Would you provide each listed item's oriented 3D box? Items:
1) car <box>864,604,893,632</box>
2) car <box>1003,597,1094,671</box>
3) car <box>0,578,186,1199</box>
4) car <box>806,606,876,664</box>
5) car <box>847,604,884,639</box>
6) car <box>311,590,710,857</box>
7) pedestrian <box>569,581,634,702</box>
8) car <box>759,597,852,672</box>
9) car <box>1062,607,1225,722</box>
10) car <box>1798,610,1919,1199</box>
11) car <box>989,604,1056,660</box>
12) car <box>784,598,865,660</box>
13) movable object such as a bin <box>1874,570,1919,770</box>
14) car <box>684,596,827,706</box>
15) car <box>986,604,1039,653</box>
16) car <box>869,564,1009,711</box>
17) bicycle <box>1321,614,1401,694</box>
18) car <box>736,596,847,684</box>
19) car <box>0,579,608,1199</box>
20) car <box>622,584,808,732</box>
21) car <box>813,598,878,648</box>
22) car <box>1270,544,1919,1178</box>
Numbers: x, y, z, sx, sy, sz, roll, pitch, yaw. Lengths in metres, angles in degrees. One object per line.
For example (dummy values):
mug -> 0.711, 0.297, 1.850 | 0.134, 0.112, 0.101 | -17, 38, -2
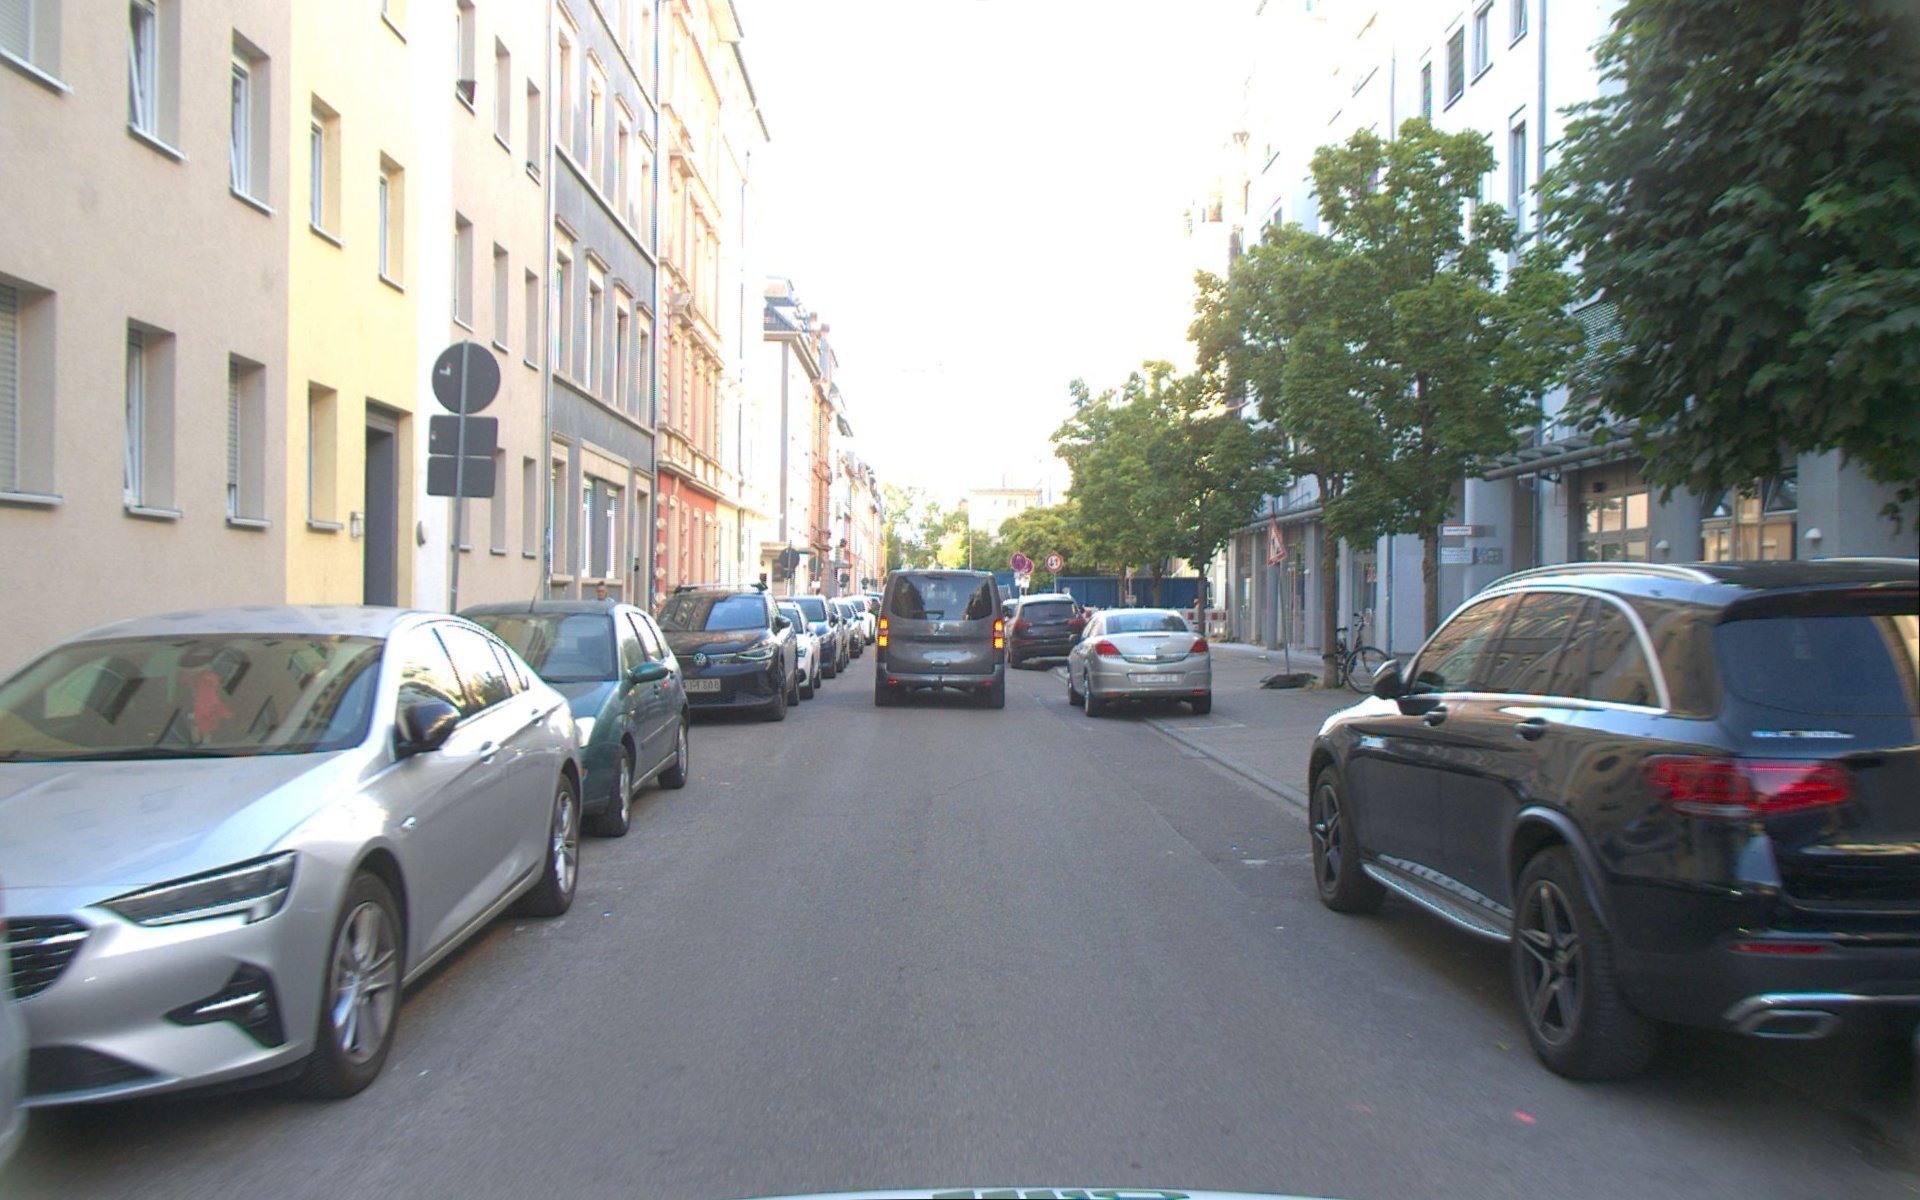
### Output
car -> -6.053, 1.354, 122.973 | 1.855, 1.878, 4.344 | 6, -1, -5
car -> 2.061, 0.785, 39.718 | 1.847, 1.651, 4.433 | -1, 0, -1
car -> -2.593, 0.717, 1.398 | 1.884, 1.514, 4.614 | -1, 0, -3
car -> -3.463, 0.988, 48.922 | 1.882, 1.587, 4.265 | -1, 0, -2
car -> -5.378, 1.198, 93.436 | 1.855, 1.749, 3.750 | 6, -1, -5
car -> -2.924, 0.725, 11.752 | 1.743, 1.514, 4.419 | -1, 0, -2
pedestrian -> -5.529, 0.629, 25.543 | 0.773, 1.822, 1.092 | -1, -1, -1
car -> -3.483, 0.751, 38.022 | 1.863, 1.587, 4.239 | -1, 0, -2
car -> 2.485, 0.839, 23.366 | 1.728, 1.454, 4.343 | -1, 0, -1
car -> 2.970, 0.761, 2.348 | 1.642, 1.509, 3.651 | -1, 0, -1
car -> 1.807, 0.912, 48.802 | 1.643, 1.552, 3.968 | -1, 0, -2
car -> -3.514, 0.725, 43.495 | 1.882, 1.510, 4.265 | -1, 0, -2
movable object such as a bin -> 7.070, 0.466, 11.094 | 1.236, 1.344, 1.138 | 0, 0, -2
car -> -3.196, 0.754, 26.580 | 1.882, 1.587, 4.265 | -1, 0, -2
car -> 1.707, 0.901, 53.763 | 1.641, 1.501, 3.730 | -1, 0, 1
car -> -0.310, 0.536, 24.353 | 1.827, 1.919, 4.234 | 2, -1, -1
bicycle -> 6.140, 0.807, 25.412 | 0.510, 1.189, 1.735 | -1, -1, -11
car -> -3.251, 0.728, 32.683 | 1.882, 1.587, 4.265 | -1, 0, -2
car -> -2.700, 0.735, 6.233 | 1.884, 1.514, 4.615 | -1, 0, -2
car -> -3.065, 0.671, 21.566 | 1.882, 1.692, 4.467 | -1, 0, -2
car -> -3.717, 0.725, 54.315 | 1.882, 1.533, 4.266 | -1, 0, -1
car -> 2.677, 0.699, 6.760 | 1.833, 1.664, 4.721 | -1, 0, -1
